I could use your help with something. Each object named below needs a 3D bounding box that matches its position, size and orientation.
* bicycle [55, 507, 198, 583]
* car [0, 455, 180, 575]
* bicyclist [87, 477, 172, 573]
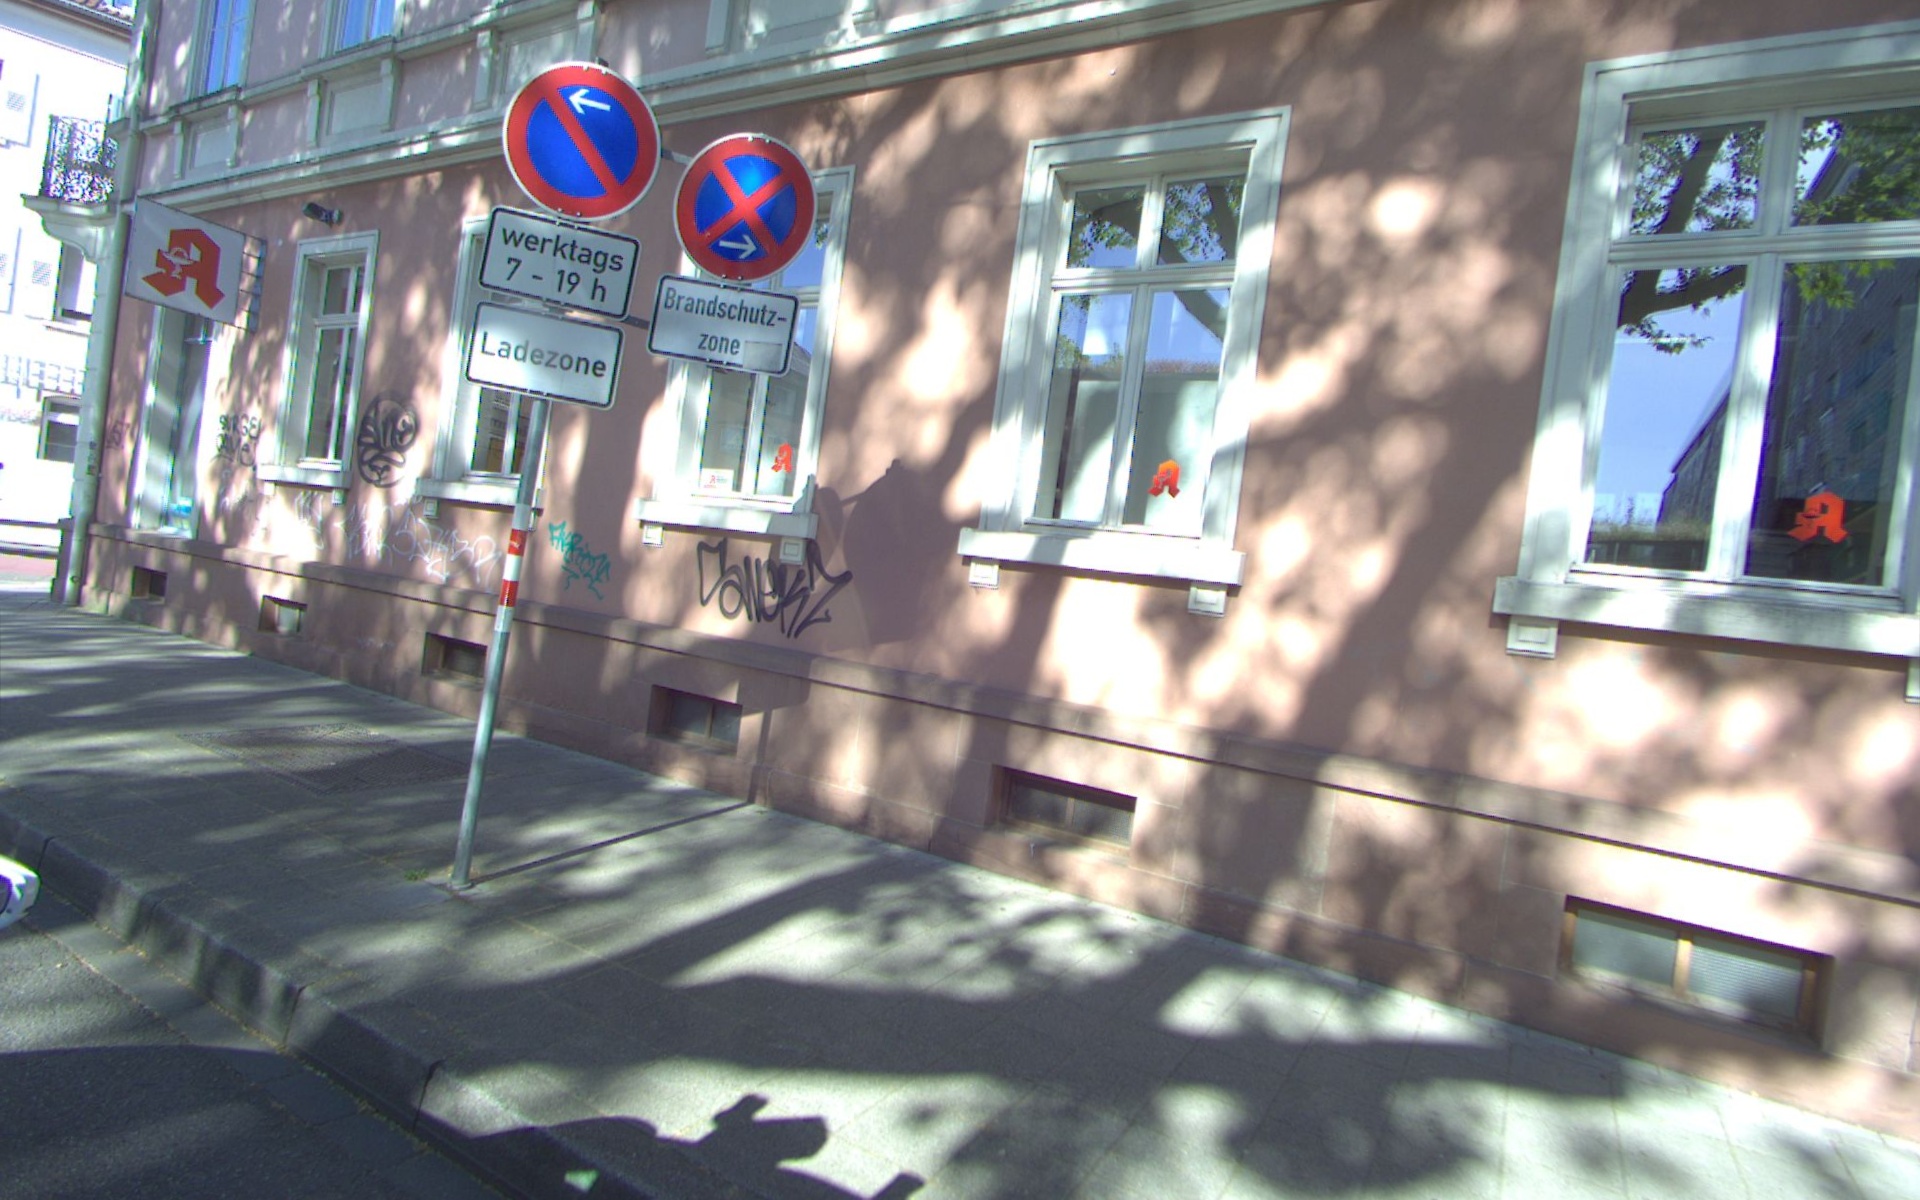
[{"bbox_3d":[-15.967,-1.039,19.351,1.998,1.158,0.677,8,0,-38],"label":"bicycle"},{"bbox_3d":[-18.929,-1.810,20.221,4.862,1.950,1.982,9,-3,-35],"label":"car"},{"bbox_3d":[-15.939,-1.421,19.337,1.085,1.664,0.748,7,0,-38],"label":"bicyclist"}]
